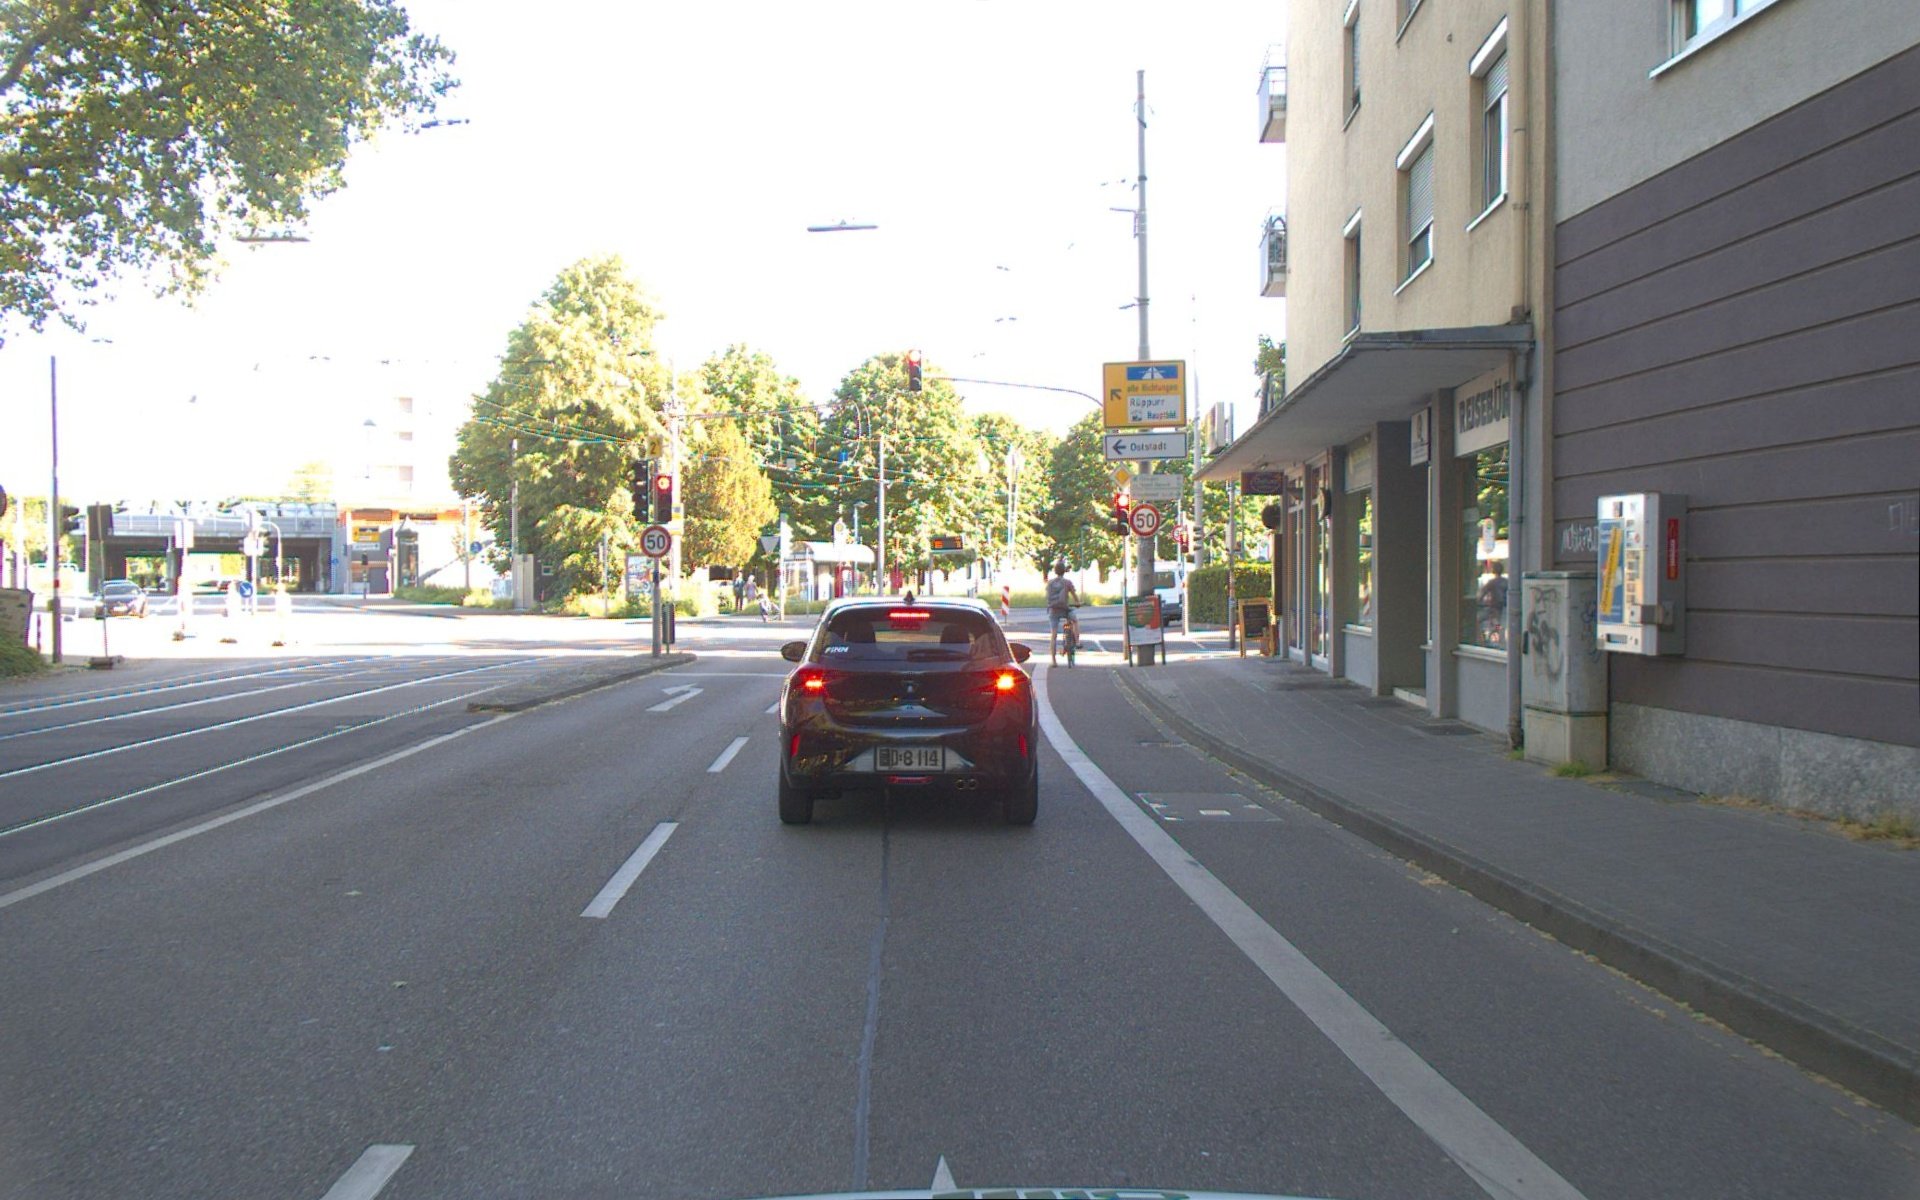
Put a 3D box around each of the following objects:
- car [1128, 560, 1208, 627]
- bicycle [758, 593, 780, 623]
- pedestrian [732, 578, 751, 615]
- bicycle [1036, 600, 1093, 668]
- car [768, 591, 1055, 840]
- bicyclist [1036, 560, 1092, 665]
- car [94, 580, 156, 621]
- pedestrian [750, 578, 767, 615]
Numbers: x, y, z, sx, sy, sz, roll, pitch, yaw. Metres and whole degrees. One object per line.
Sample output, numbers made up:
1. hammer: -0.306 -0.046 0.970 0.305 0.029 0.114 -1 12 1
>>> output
1. car: 7.464 -0.266 59.014 2.020 2.288 4.890 0 1 17
2. bicycle: -6.765 0.278 58.738 0.593 1.049 1.982 0 1 -1
3. pedestrian: -9.959 -0.171 75.412 0.735 1.658 0.598 1 0 6
4. bicycle: 1.907 0.603 30.406 0.842 1.173 2.171 -1 1 -2
5. car: -0.316 0.677 11.917 1.692 1.454 4.186 1 0 -1
6. bicyclist: 1.902 0.216 30.391 0.922 1.883 0.864 -1 0 -2
7. car: -33.749 0.018 66.905 1.799 1.545 3.870 2 0 -21
8. pedestrian: -9.179 -0.149 75.348 0.623 1.658 0.572 1 0 6
